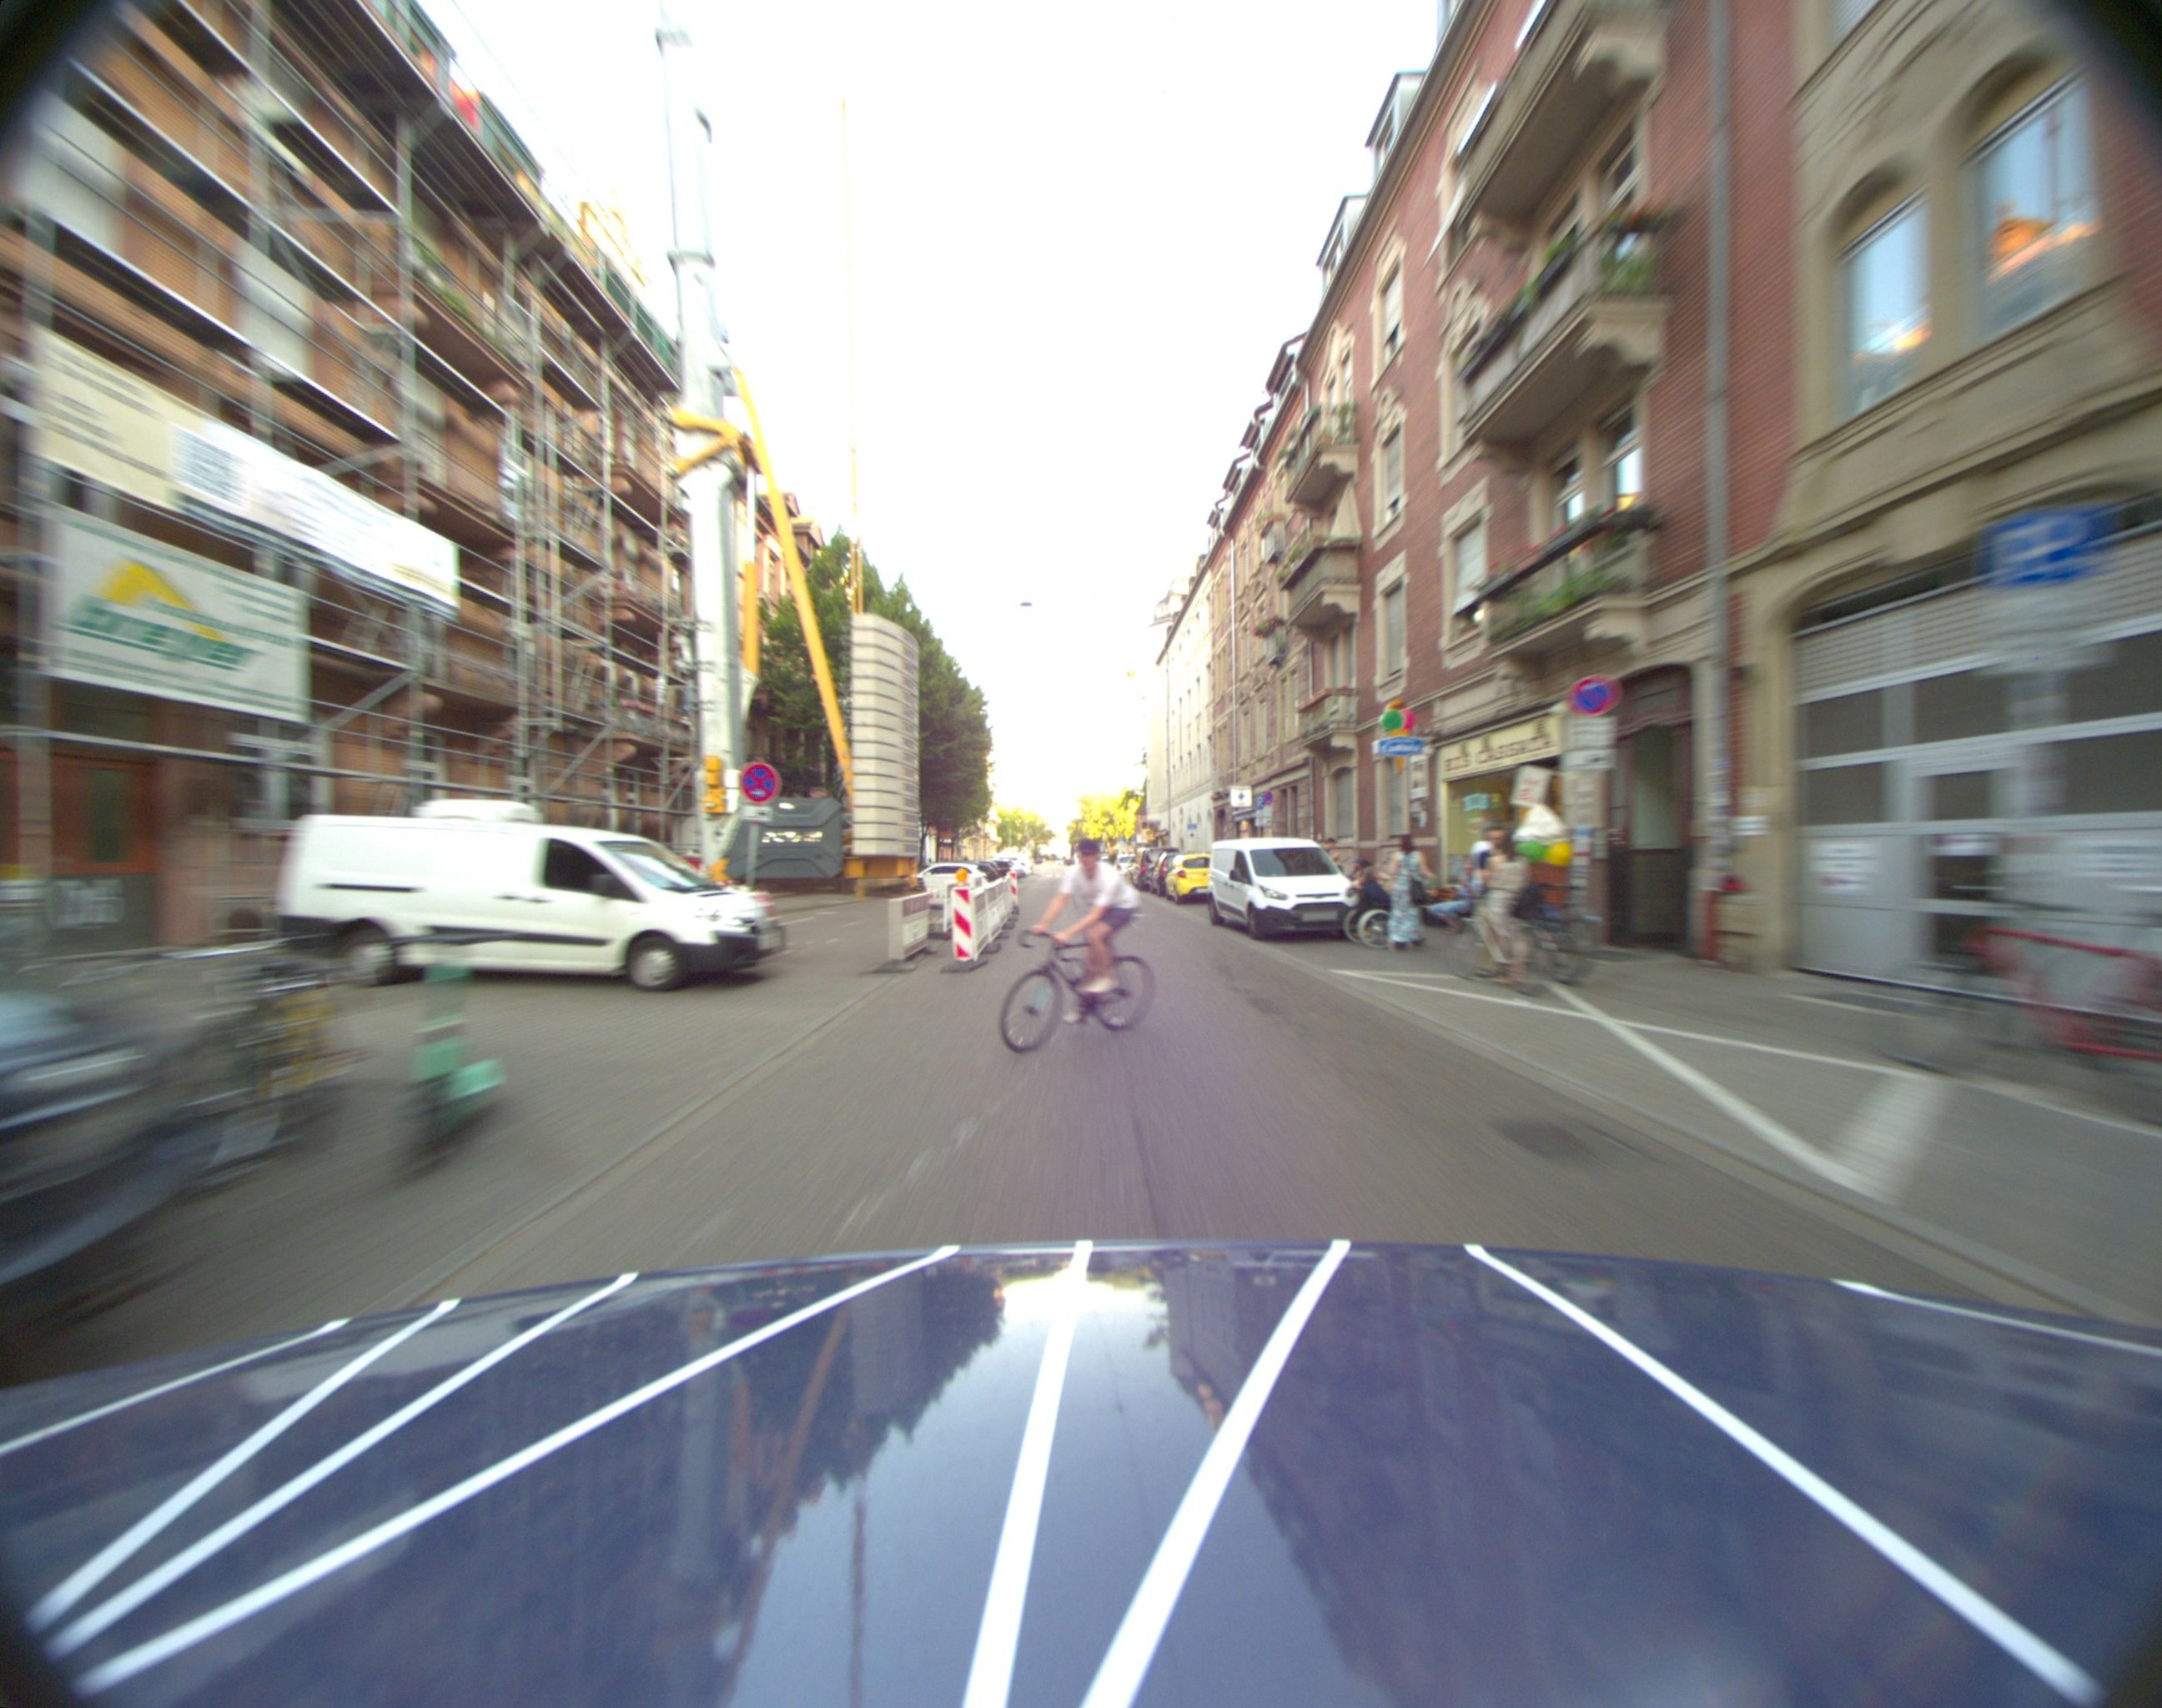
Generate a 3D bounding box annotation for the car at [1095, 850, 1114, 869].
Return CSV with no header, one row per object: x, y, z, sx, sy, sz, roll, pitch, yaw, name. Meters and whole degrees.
2.417,0.549,79.845,1.786,1.860,4.457,-2,1,0,car

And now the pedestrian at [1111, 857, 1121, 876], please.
2.481,0.908,53.800,0.571,1.315,0.496,-2,1,-2,pedestrian

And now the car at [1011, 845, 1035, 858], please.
-10.639,-0.460,139.520,4.202,2.246,1.673,1,1,-36,car

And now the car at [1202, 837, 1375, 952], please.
3.678,0.622,14.395,1.775,1.778,4.585,-2,1,-3,car

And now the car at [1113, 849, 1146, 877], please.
3.095,0.570,48.941,1.730,1.638,3.916,-2,0,-1,car

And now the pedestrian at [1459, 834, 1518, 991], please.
4.540,0.637,8.472,0.419,1.699,0.350,-2,1,-6,pedestrian

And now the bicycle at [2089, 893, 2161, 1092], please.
6.626,0.843,3.916,0.413,1.153,1.837,-2,1,0,bicycle

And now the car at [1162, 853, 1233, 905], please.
3.665,0.733,24.546,1.709,1.521,3.792,-1,0,0,car

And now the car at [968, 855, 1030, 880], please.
-5.656,0.931,52.536,3.841,1.556,1.673,1,1,-31,car

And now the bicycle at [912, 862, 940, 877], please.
-10.534,1.045,51.671,1.770,0.920,0.546,3,0,-8,bicycle

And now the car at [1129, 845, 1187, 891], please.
3.402,0.589,34.446,1.932,1.872,4.904,-1,0,-2,car

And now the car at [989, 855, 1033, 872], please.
-6.575,0.891,71.402,3.838,1.510,1.675,2,1,-17,car

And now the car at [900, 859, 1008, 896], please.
-5.402,0.986,32.501,4.179,1.479,1.826,1,0,-37,car

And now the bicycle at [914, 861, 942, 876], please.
-10.516,1.013,52.292,1.770,0.920,0.546,3,0,-8,bicycle

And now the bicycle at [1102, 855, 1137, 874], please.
3.010,0.846,59.383,2.619,1.390,0.602,-2,1,11,bicycle

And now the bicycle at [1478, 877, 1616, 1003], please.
5.130,0.887,8.513,0.466,1.148,2.001,-2,1,6,bicycle

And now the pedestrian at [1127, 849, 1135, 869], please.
4.332,0.409,65.939,0.566,1.723,0.562,-2,1,-2,pedestrian

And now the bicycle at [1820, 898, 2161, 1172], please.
5.220,0.891,4.229,0.413,1.153,1.837,-2,1,0,bicycle

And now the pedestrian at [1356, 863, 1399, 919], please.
6.272,0.765,16.087,0.633,1.133,0.573,-2,1,-3,pedestrian

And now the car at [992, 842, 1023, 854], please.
-10.175,-0.867,104.845,3.841,1.510,1.673,1,1,-30,car

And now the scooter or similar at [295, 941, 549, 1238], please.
-3.470,1.130,4.158,0.658,1.143,1.481,1,0,-25,scooter or similar

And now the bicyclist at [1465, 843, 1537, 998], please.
4.417,0.679,8.011,0.467,1.581,0.487,-2,1,2,bicyclist

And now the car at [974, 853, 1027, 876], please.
-6.403,0.839,60.436,3.841,1.639,1.674,1,1,-29,car

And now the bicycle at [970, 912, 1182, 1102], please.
0.023,1.122,6.064,1.786,1.148,0.519,-3,1,-44,bicycle

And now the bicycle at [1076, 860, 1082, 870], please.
-0.192,1.082,76.585,0.477,0.938,1.895,-2,1,-2,bicycle

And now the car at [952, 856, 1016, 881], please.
-6.341,0.944,49.829,3.839,1.556,1.674,2,1,-23,car

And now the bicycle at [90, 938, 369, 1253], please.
-4.367,1.101,4.044,0.497,1.129,1.810,1,-1,-32,bicycle

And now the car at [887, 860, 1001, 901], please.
-5.298,1.003,29.517,4.003,1.479,1.680,1,0,-35,car

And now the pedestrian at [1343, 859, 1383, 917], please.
6.301,0.754,16.999,0.620,1.244,0.585,-2,1,-3,pedestrian

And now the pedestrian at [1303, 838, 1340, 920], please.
5.198,0.524,16.397,0.619,1.720,0.586,-1,1,27,pedestrian

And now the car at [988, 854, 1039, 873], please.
-5.658,0.801,63.594,3.842,1.510,1.673,1,1,-34,car

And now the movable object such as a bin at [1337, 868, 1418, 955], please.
4.527,0.861,11.649,0.890,1.244,0.776,-2,1,-1,movable object such as a bin

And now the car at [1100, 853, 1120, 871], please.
2.830,0.758,74.877,1.786,1.537,3.999,-2,1,0,car

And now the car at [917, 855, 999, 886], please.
-6.118,0.823,37.850,3.638,1.508,1.621,1,0,-29,car

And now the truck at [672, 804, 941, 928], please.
-7.514,0.317,21.380,6.496,3.059,2.524,-2,1,2,truck

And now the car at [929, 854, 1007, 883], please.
-6.077,0.787,40.909,3.807,1.508,1.646,1,0,-34,car

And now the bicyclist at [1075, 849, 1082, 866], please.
-0.225,0.304,76.548,0.624,1.682,1.003,-2,1,-2,bicyclist

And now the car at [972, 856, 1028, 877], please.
-6.111,0.958,57.726,3.841,1.422,1.673,1,1,-31,car

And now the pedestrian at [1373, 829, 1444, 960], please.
4.717,0.558,10.981,0.600,1.803,0.720,-2,1,-10,pedestrian

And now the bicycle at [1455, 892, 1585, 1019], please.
4.417,0.978,7.753,0.467,1.062,1.520,-2,1,2,bicycle

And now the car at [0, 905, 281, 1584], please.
-4.430,0.946,1.256,3.873,1.507,1.844,0,0,-27,car

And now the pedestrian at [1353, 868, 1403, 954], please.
4.555,0.860,11.673,0.479,1.244,0.652,-2,1,-1,pedestrian

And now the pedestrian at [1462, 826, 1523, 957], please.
5.881,0.516,10.882,0.598,1.803,0.721,-2,1,17,pedestrian

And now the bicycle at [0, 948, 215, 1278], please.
-4.883,1.115,3.676,0.497,1.129,1.809,1,-1,-35,bicycle

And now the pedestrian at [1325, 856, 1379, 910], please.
6.259,0.657,17.567,1.041,1.196,0.503,-2,1,-3,pedestrian

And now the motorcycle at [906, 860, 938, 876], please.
-10.515,0.920,50.178,1.984,0.920,0.591,3,0,12,motorcycle

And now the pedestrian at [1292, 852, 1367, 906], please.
5.917,0.576,18.135,1.566,1.196,0.641,-2,1,-3,pedestrian

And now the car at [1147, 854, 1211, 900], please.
3.690,0.817,29.190,1.932,1.587,3.969,-1,0,0,car

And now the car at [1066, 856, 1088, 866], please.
-0.787,1.389,146.482,4.075,1.688,1.679,2,1,10,car

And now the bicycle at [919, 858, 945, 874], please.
-10.946,0.881,55.966,1.770,1.094,0.546,3,0,-8,bicycle

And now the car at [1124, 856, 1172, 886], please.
3.436,0.837,39.855,1.932,1.422,4.480,-1,0,-2,car

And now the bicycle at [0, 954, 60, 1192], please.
-5.342,1.105,3.324,0.497,1.129,1.809,1,-1,-35,bicycle

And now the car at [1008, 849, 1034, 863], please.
-10.410,0.343,131.091,4.202,2.279,1.673,1,1,-40,car

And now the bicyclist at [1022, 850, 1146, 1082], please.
0.032,0.831,6.072,0.527,1.694,0.791,-1,2,45,bicyclist

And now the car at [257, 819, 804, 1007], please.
-6.358,0.677,9.296,5.187,1.944,1.899,1,-1,-2,car

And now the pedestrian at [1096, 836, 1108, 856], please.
2.881,-1.078,105.223,1.445,2.725,1.011,-2,1,-2,pedestrian
